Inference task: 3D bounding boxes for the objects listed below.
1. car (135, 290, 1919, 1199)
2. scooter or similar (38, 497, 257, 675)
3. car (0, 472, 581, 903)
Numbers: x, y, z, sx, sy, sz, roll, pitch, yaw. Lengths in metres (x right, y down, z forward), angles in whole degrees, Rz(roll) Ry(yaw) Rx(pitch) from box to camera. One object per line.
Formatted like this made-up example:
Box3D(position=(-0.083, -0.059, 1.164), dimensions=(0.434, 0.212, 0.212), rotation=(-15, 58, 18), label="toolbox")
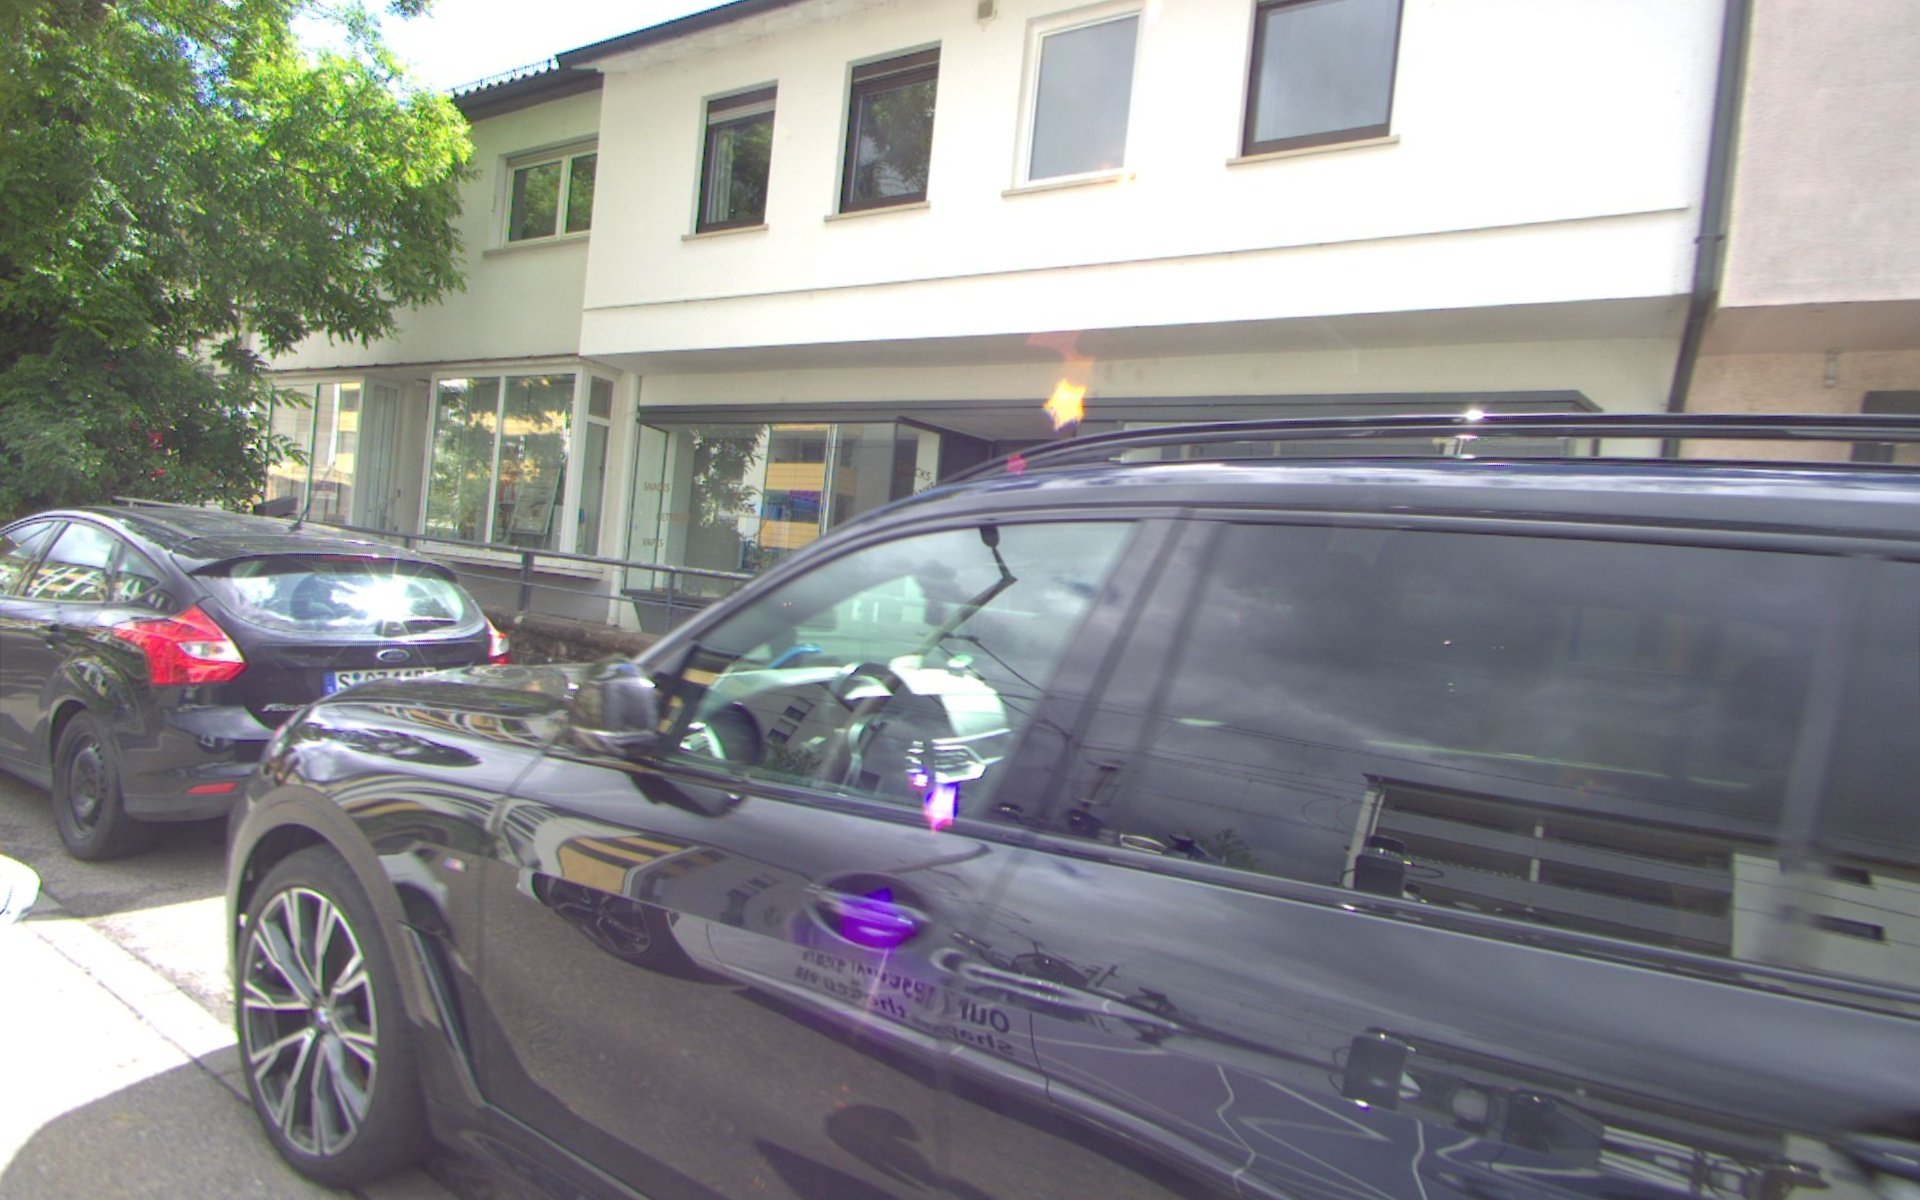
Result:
Box3D(position=(0.501, 0.630, 2.147), dimensions=(4.993, 1.811, 2.016), rotation=(6, 1, 33), label="car")
Box3D(position=(-6.548, -0.110, 8.144), dimensions=(1.214, 1.259, 0.535), rotation=(7, 2, -4), label="scooter or similar")
Box3D(position=(-4.279, 0.192, 5.509), dimensions=(4.171, 1.525, 1.836), rotation=(6, 1, 31), label="car")
